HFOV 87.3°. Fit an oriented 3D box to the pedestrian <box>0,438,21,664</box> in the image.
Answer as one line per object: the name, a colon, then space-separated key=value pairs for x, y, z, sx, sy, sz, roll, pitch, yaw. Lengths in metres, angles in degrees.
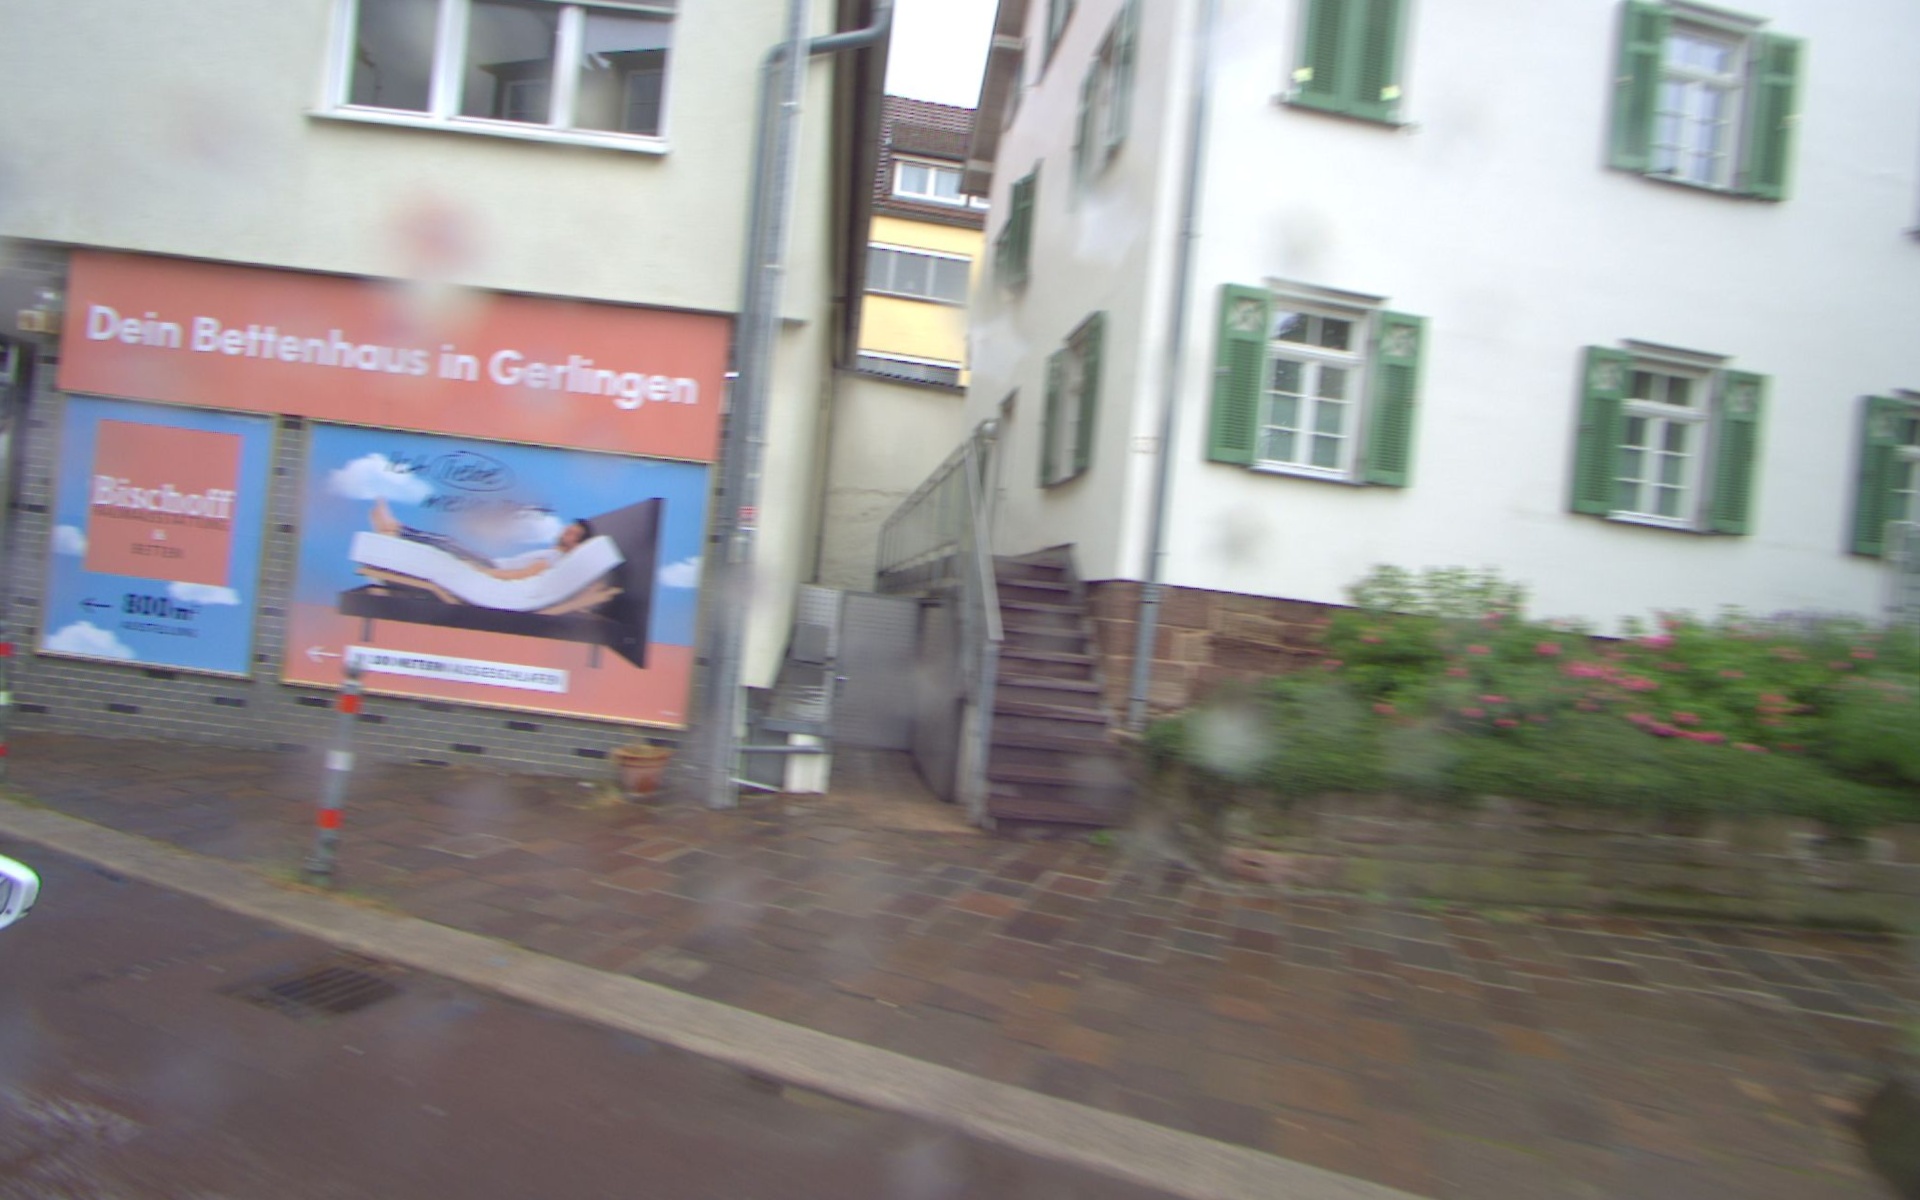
pedestrian: x=-7.409 y=-0.187 z=7.261 sx=0.749 sy=2.038 sz=0.651 roll=5 pitch=-1 yaw=35
